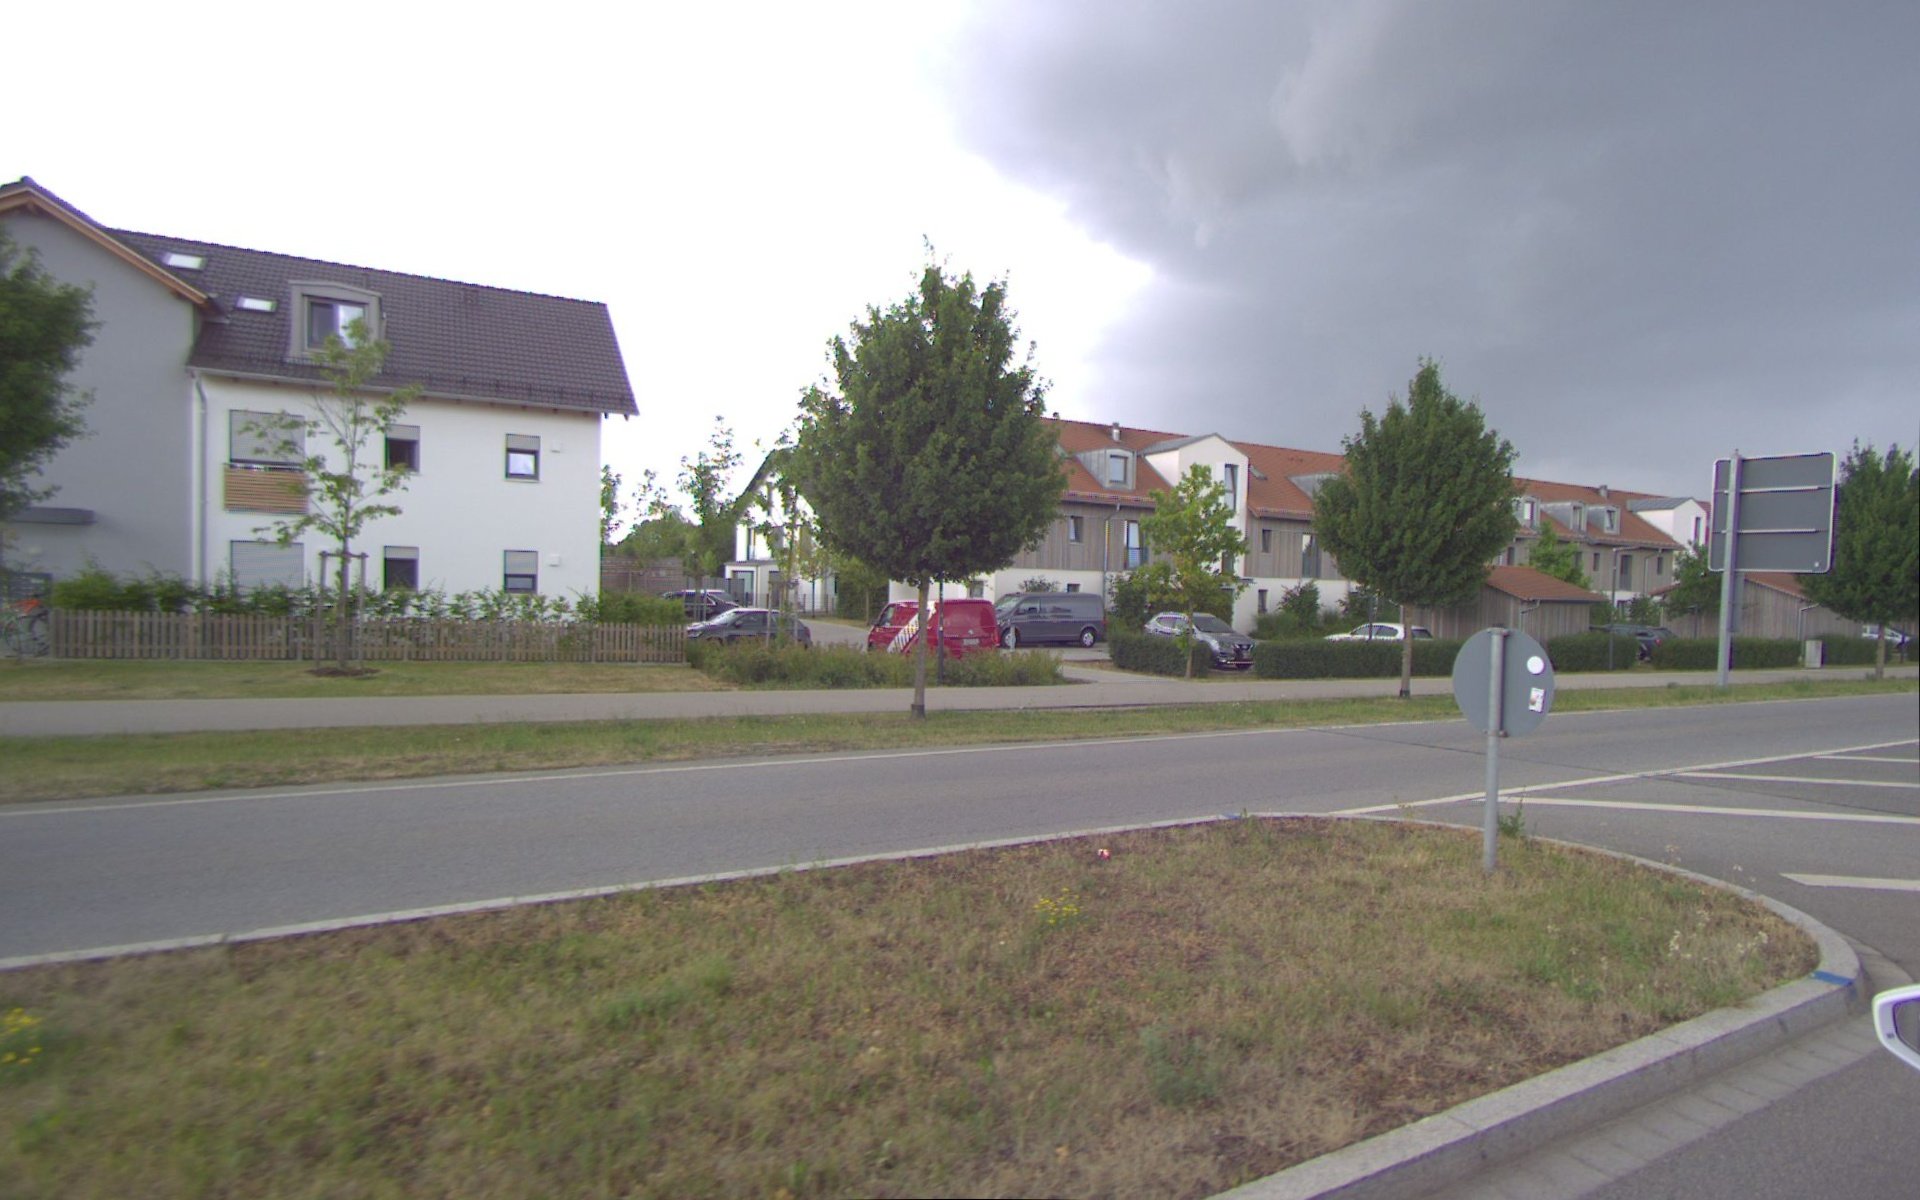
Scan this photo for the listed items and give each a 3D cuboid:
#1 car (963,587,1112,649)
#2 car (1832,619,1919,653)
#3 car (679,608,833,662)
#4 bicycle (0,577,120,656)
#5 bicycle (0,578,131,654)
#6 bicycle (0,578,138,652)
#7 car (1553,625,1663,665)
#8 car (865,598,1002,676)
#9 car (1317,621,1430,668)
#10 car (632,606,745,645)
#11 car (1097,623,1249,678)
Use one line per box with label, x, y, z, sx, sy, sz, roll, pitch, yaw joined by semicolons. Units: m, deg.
car;2.860;0.660;36.942;5.134;2.041;1.985;1;4;-27
car;52.818;2.022;57.435;1.975;1.577;3.970;1;3;-28
car;-5.824;0.970;28.710;3.953;1.439;1.867;1;0;-30
bicycle;-17.199;0.304;18.669;2.316;1.431;0.679;1;0;-31
bicycle;-17.587;0.315;19.591;2.070;1.436;0.679;1;0;-30
bicycle;-17.981;0.307;20.246;2.070;1.447;0.679;1;0;-30
car;26.691;1.820;41.465;1.545;1.509;3.498;1;0;-30
car;-0.835;0.893;26.512;1.880;1.840;4.892;1;0;-24
car;14.541;1.537;35.481;1.545;1.509;3.498;1;0;-30
car;-10.635;0.978;39.449;3.953;1.439;1.867;1;0;-30
car;6.434;1.475;30.943;1.882;1.449;4.885;1;0;-28
